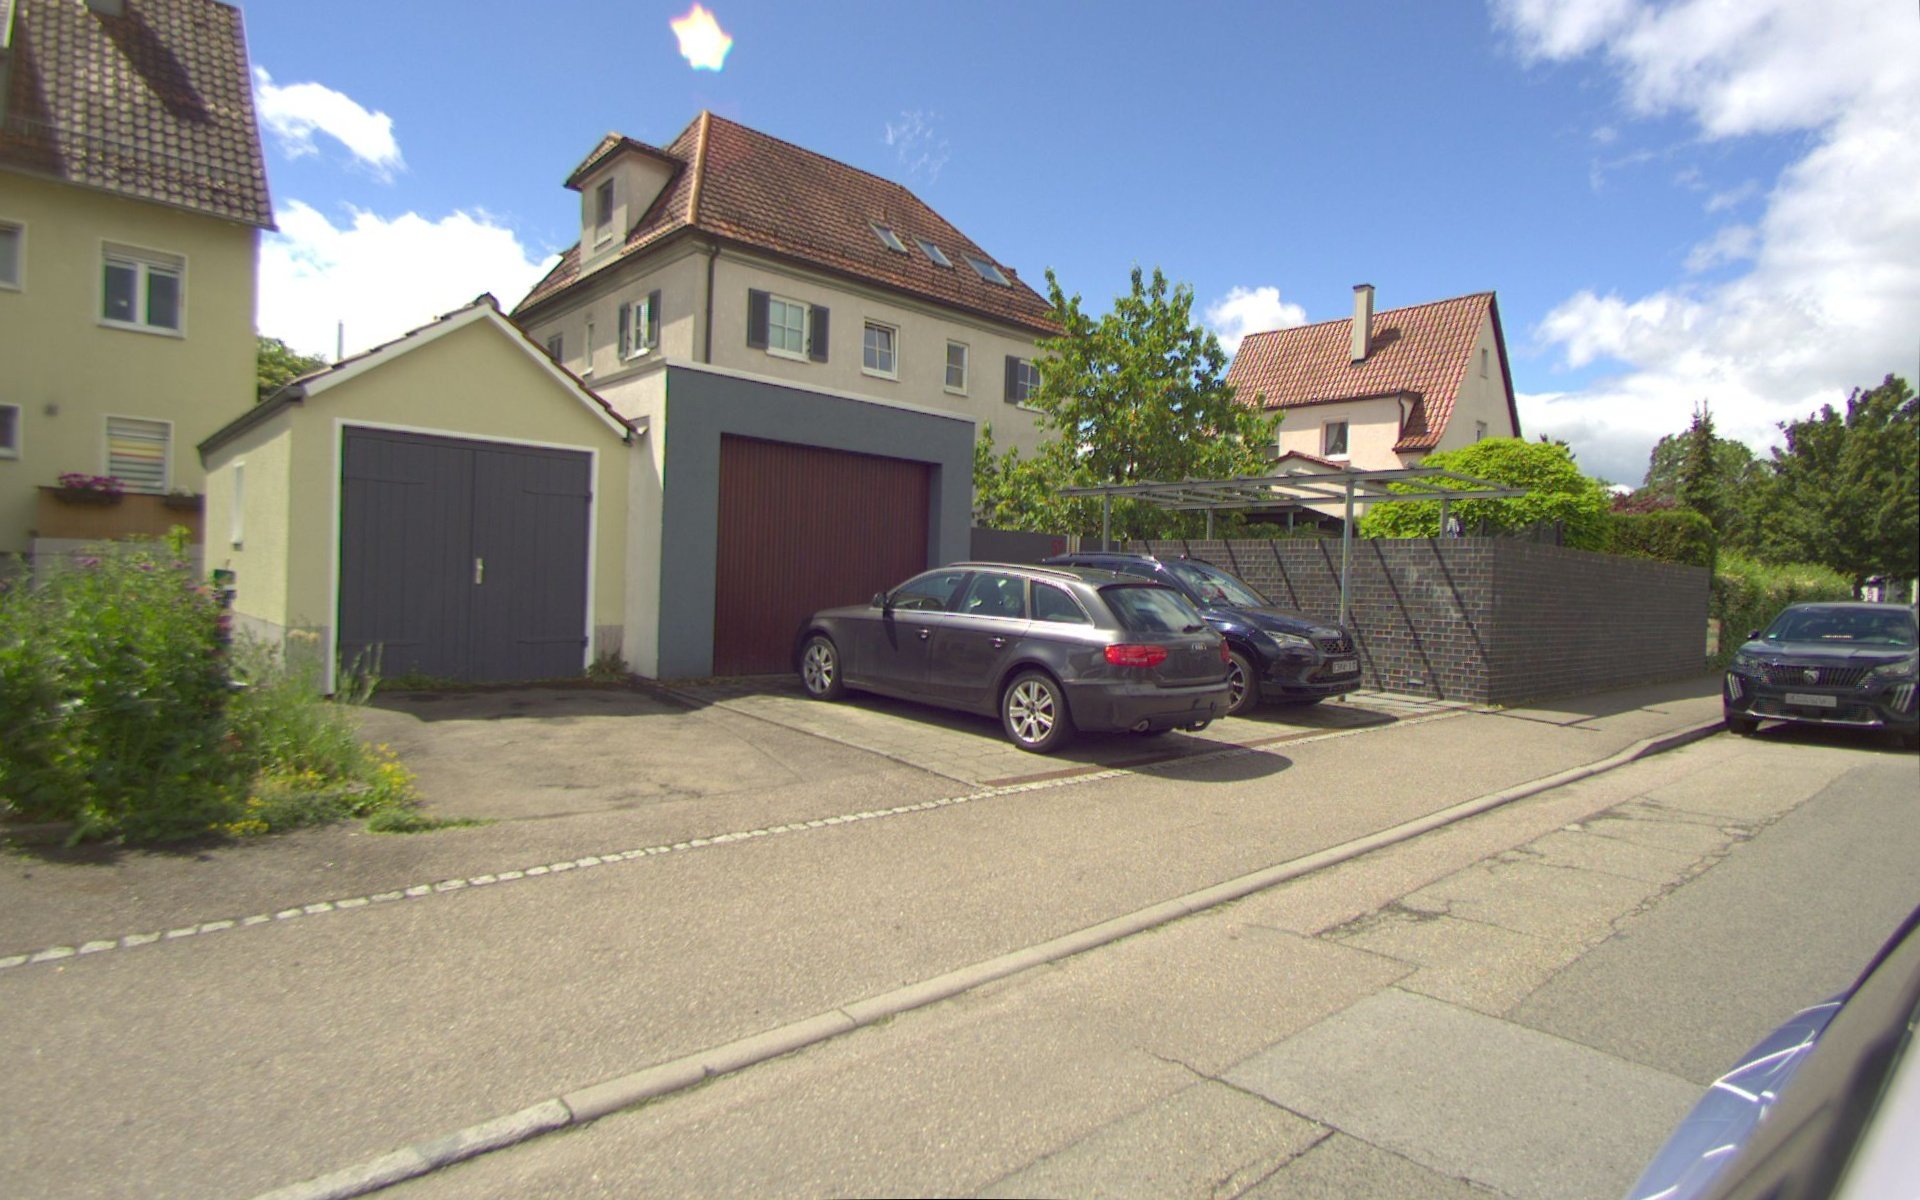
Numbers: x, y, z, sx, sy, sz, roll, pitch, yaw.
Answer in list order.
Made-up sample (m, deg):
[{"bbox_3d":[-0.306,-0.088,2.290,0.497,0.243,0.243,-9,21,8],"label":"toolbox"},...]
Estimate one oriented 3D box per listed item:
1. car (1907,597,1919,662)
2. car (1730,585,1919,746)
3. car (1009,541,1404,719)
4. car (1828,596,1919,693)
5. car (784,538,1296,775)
[{"bbox_3d":[23.389,0.673,23.399,3.706,1.462,1.788,0,1,-41],"label":"car"},{"bbox_3d":[10.654,0.624,11.833,4.241,1.576,1.788,0,1,-41],"label":"car"},{"bbox_3d":[2.648,0.195,11.546,1.823,1.634,4.008,0,3,-44],"label":"car"},{"bbox_3d":[15.848,0.695,16.847,3.486,1.449,1.575,0,2,-41],"label":"car"},{"bbox_3d":[0.482,0.285,9.165,1.942,1.423,4.414,0,5,-44],"label":"car"}]
